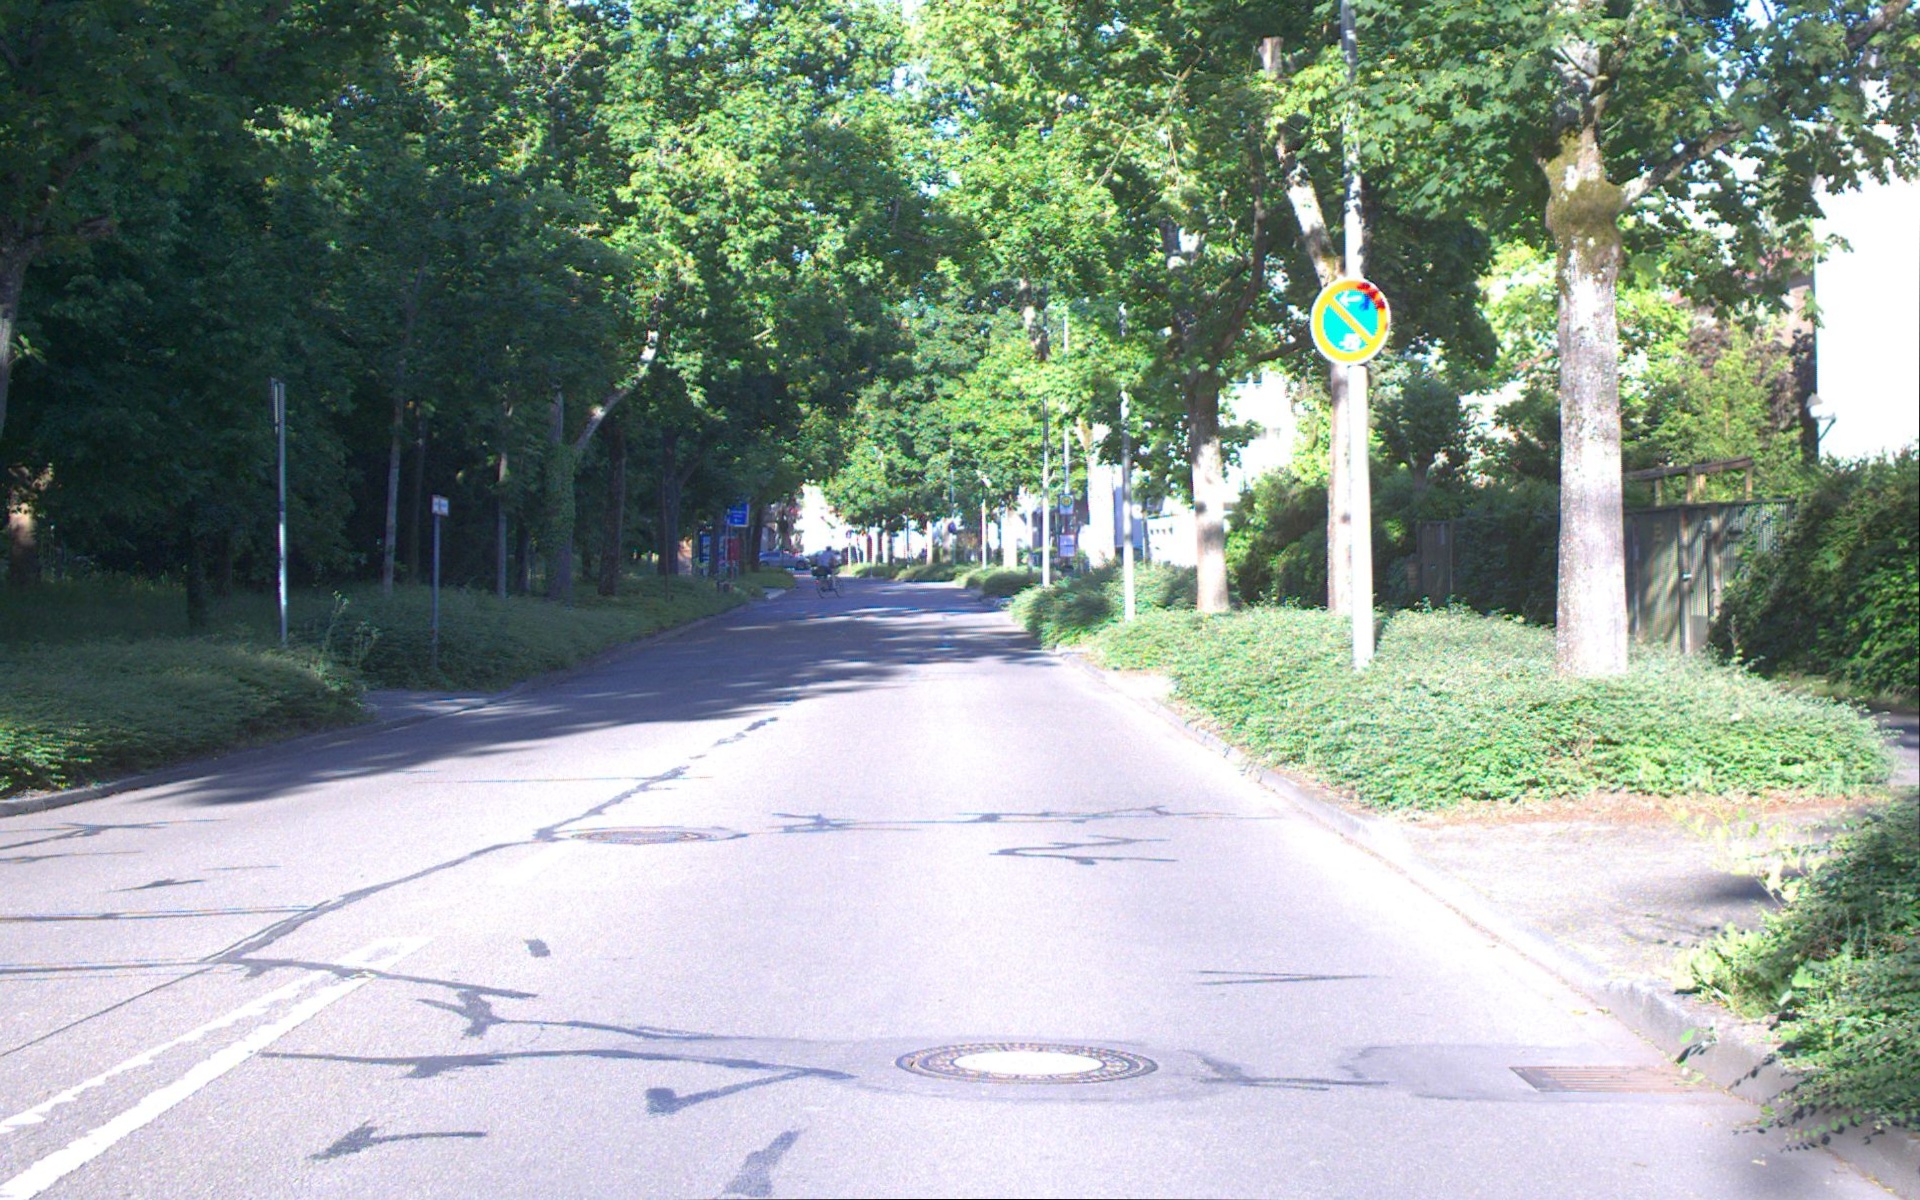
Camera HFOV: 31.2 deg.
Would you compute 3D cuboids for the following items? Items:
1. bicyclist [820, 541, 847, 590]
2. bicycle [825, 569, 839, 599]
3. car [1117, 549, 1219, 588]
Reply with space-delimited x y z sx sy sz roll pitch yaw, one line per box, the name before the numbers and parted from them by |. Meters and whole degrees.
bicyclist | -4.268 -1.177 116.338 0.867 1.635 1.115 1 2 -1
bicycle | -4.317 -0.553 116.388 0.439 0.975 1.661 0 2 -1
car | 9.163 -1.402 151.391 4.351 1.349 2.143 3 4 5
